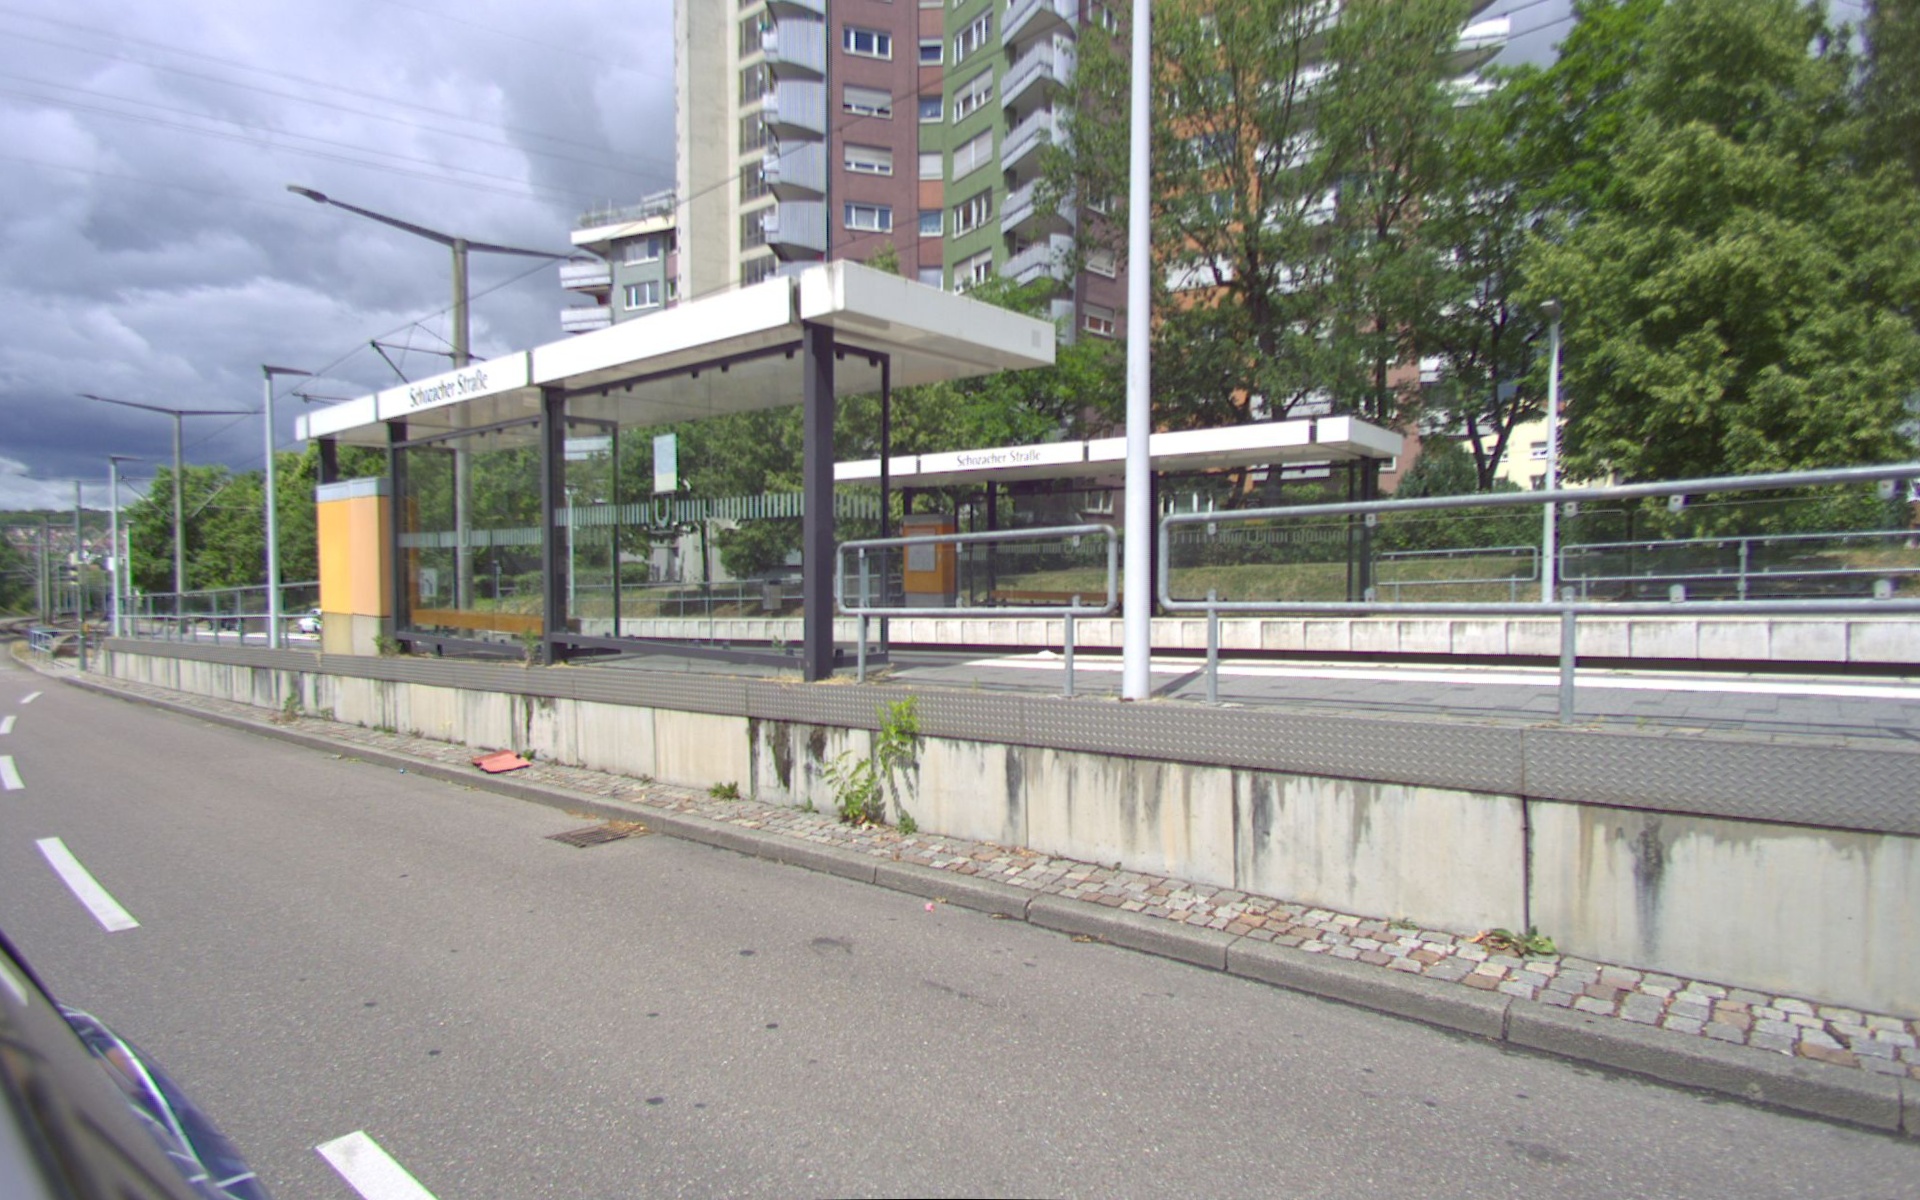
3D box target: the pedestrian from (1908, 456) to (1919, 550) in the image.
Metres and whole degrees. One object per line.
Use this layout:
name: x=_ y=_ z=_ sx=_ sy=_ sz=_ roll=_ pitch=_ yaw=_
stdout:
pedestrian: x=18.376 y=-1.844 z=19.196 sx=0.504 sy=1.725 sz=0.643 roll=-1 pitch=-1 yaw=40

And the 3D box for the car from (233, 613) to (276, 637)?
car: x=-47.690 y=1.692 z=68.398 sx=3.738 sy=1.524 sz=1.636 roll=-1 pitch=0 yaw=44

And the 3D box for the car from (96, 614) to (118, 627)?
car: x=-103.271 y=2.459 z=122.522 sx=3.738 sy=1.524 sz=1.636 roll=-1 pitch=0 yaw=44

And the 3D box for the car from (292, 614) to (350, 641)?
car: x=-35.727 y=1.527 z=56.537 sx=3.997 sy=1.429 sz=1.638 roll=-1 pitch=0 yaw=40
